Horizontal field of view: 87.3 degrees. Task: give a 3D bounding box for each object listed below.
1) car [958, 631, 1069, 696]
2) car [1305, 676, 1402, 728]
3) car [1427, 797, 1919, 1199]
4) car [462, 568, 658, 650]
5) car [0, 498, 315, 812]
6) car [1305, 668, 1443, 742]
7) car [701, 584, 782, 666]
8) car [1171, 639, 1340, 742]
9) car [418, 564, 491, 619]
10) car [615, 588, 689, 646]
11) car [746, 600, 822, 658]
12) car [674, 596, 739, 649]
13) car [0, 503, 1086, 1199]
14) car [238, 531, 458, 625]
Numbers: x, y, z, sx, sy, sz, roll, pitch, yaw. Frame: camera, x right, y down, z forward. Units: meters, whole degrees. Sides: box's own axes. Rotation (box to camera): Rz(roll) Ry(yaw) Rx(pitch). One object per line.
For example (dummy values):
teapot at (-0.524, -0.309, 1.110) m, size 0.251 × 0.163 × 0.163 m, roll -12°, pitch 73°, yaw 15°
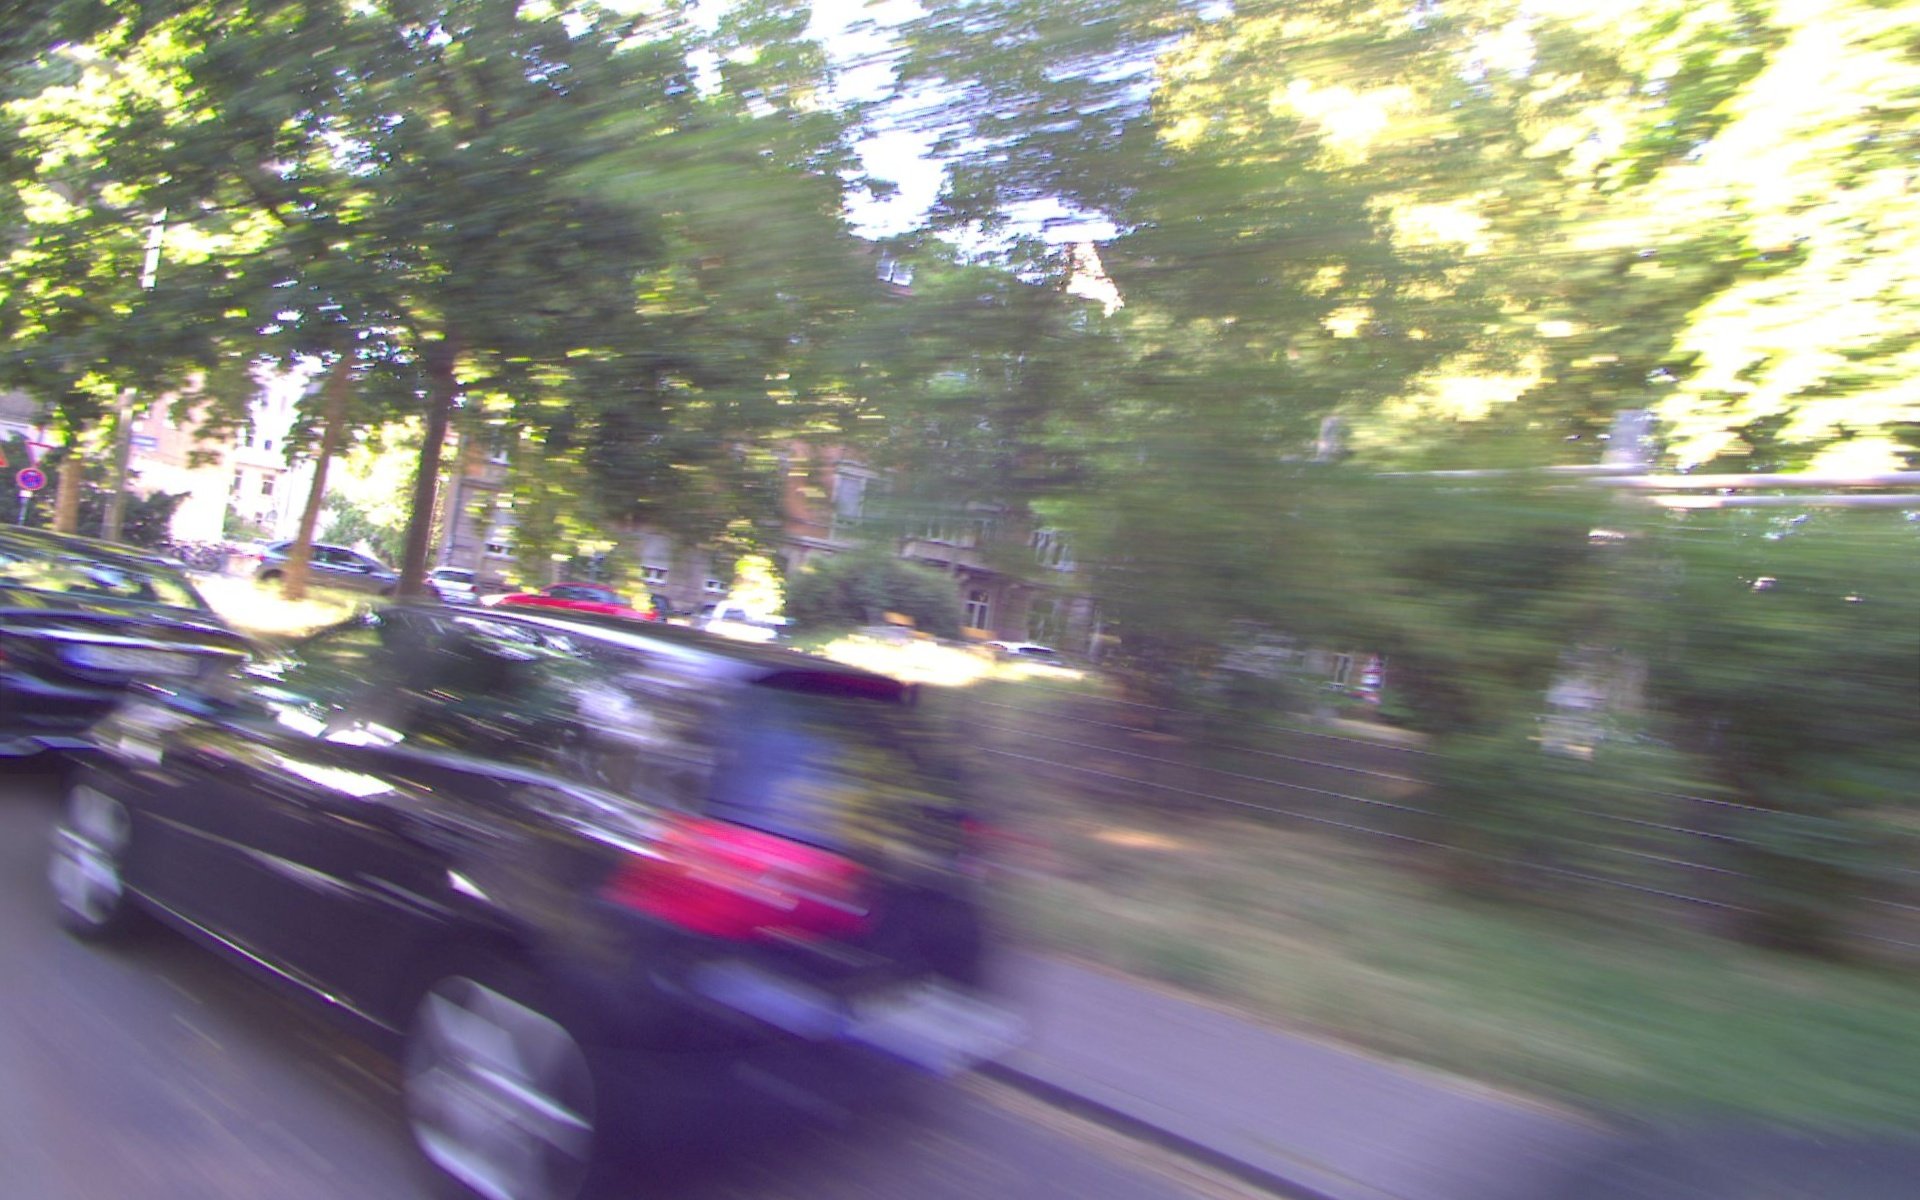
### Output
car at (1.439, 1.846, 28.873) m, size 1.759 × 1.506 × 4.398 m, roll 9°, pitch -6°, yaw -14°
car at (17.632, 4.544, 45.233) m, size 1.969 × 1.803 × 3.992 m, roll 8°, pitch -2°, yaw -13°
car at (2.753, 1.301, 0.927) m, size 4.214 × 1.297 × 1.686 m, roll 7°, pitch -3°, yaw 29°
car at (-10.478, 0.298, 26.739) m, size 4.577 × 1.464 × 1.740 m, roll 9°, pitch -4°, yaw -17°
car at (-6.330, 0.116, 6.540) m, size 4.414 × 1.542 × 1.685 m, roll 7°, pitch -3°, yaw 31°
car at (13.256, 3.337, 32.484) m, size 1.969 × 1.803 × 3.992 m, roll 8°, pitch -2°, yaw -13°
car at (-5.833, 0.753, 26.492) m, size 1.707 × 1.724 × 4.398 m, roll 9°, pitch -6°, yaw -14°
car at (8.923, 2.665, 31.052) m, size 2.335 × 2.483 × 5.498 m, roll 8°, pitch -2°, yaw -13°
car at (-17.213, -0.343, 34.430) m, size 1.712 × 1.490 × 3.979 m, roll 9°, pitch -1°, yaw -22°
car at (-10.875, 0.554, 35.354) m, size 1.885 × 1.636 × 3.757 m, roll 9°, pitch -2°, yaw -24°
car at (-6.627, 1.030, 37.465) m, size 1.712 × 1.650 × 4.461 m, roll 9°, pitch -1°, yaw -22°
car at (-9.354, 0.793, 36.981) m, size 1.630 × 1.614 × 3.630 m, roll 9°, pitch -2°, yaw -22°
car at (-1.876, 0.669, 3.865) m, size 4.216 × 1.542 × 1.685 m, roll 7°, pitch -3°, yaw 31°
car at (-15.211, -0.502, 25.268) m, size 4.210 × 1.567 × 1.741 m, roll 9°, pitch -5°, yaw -14°
